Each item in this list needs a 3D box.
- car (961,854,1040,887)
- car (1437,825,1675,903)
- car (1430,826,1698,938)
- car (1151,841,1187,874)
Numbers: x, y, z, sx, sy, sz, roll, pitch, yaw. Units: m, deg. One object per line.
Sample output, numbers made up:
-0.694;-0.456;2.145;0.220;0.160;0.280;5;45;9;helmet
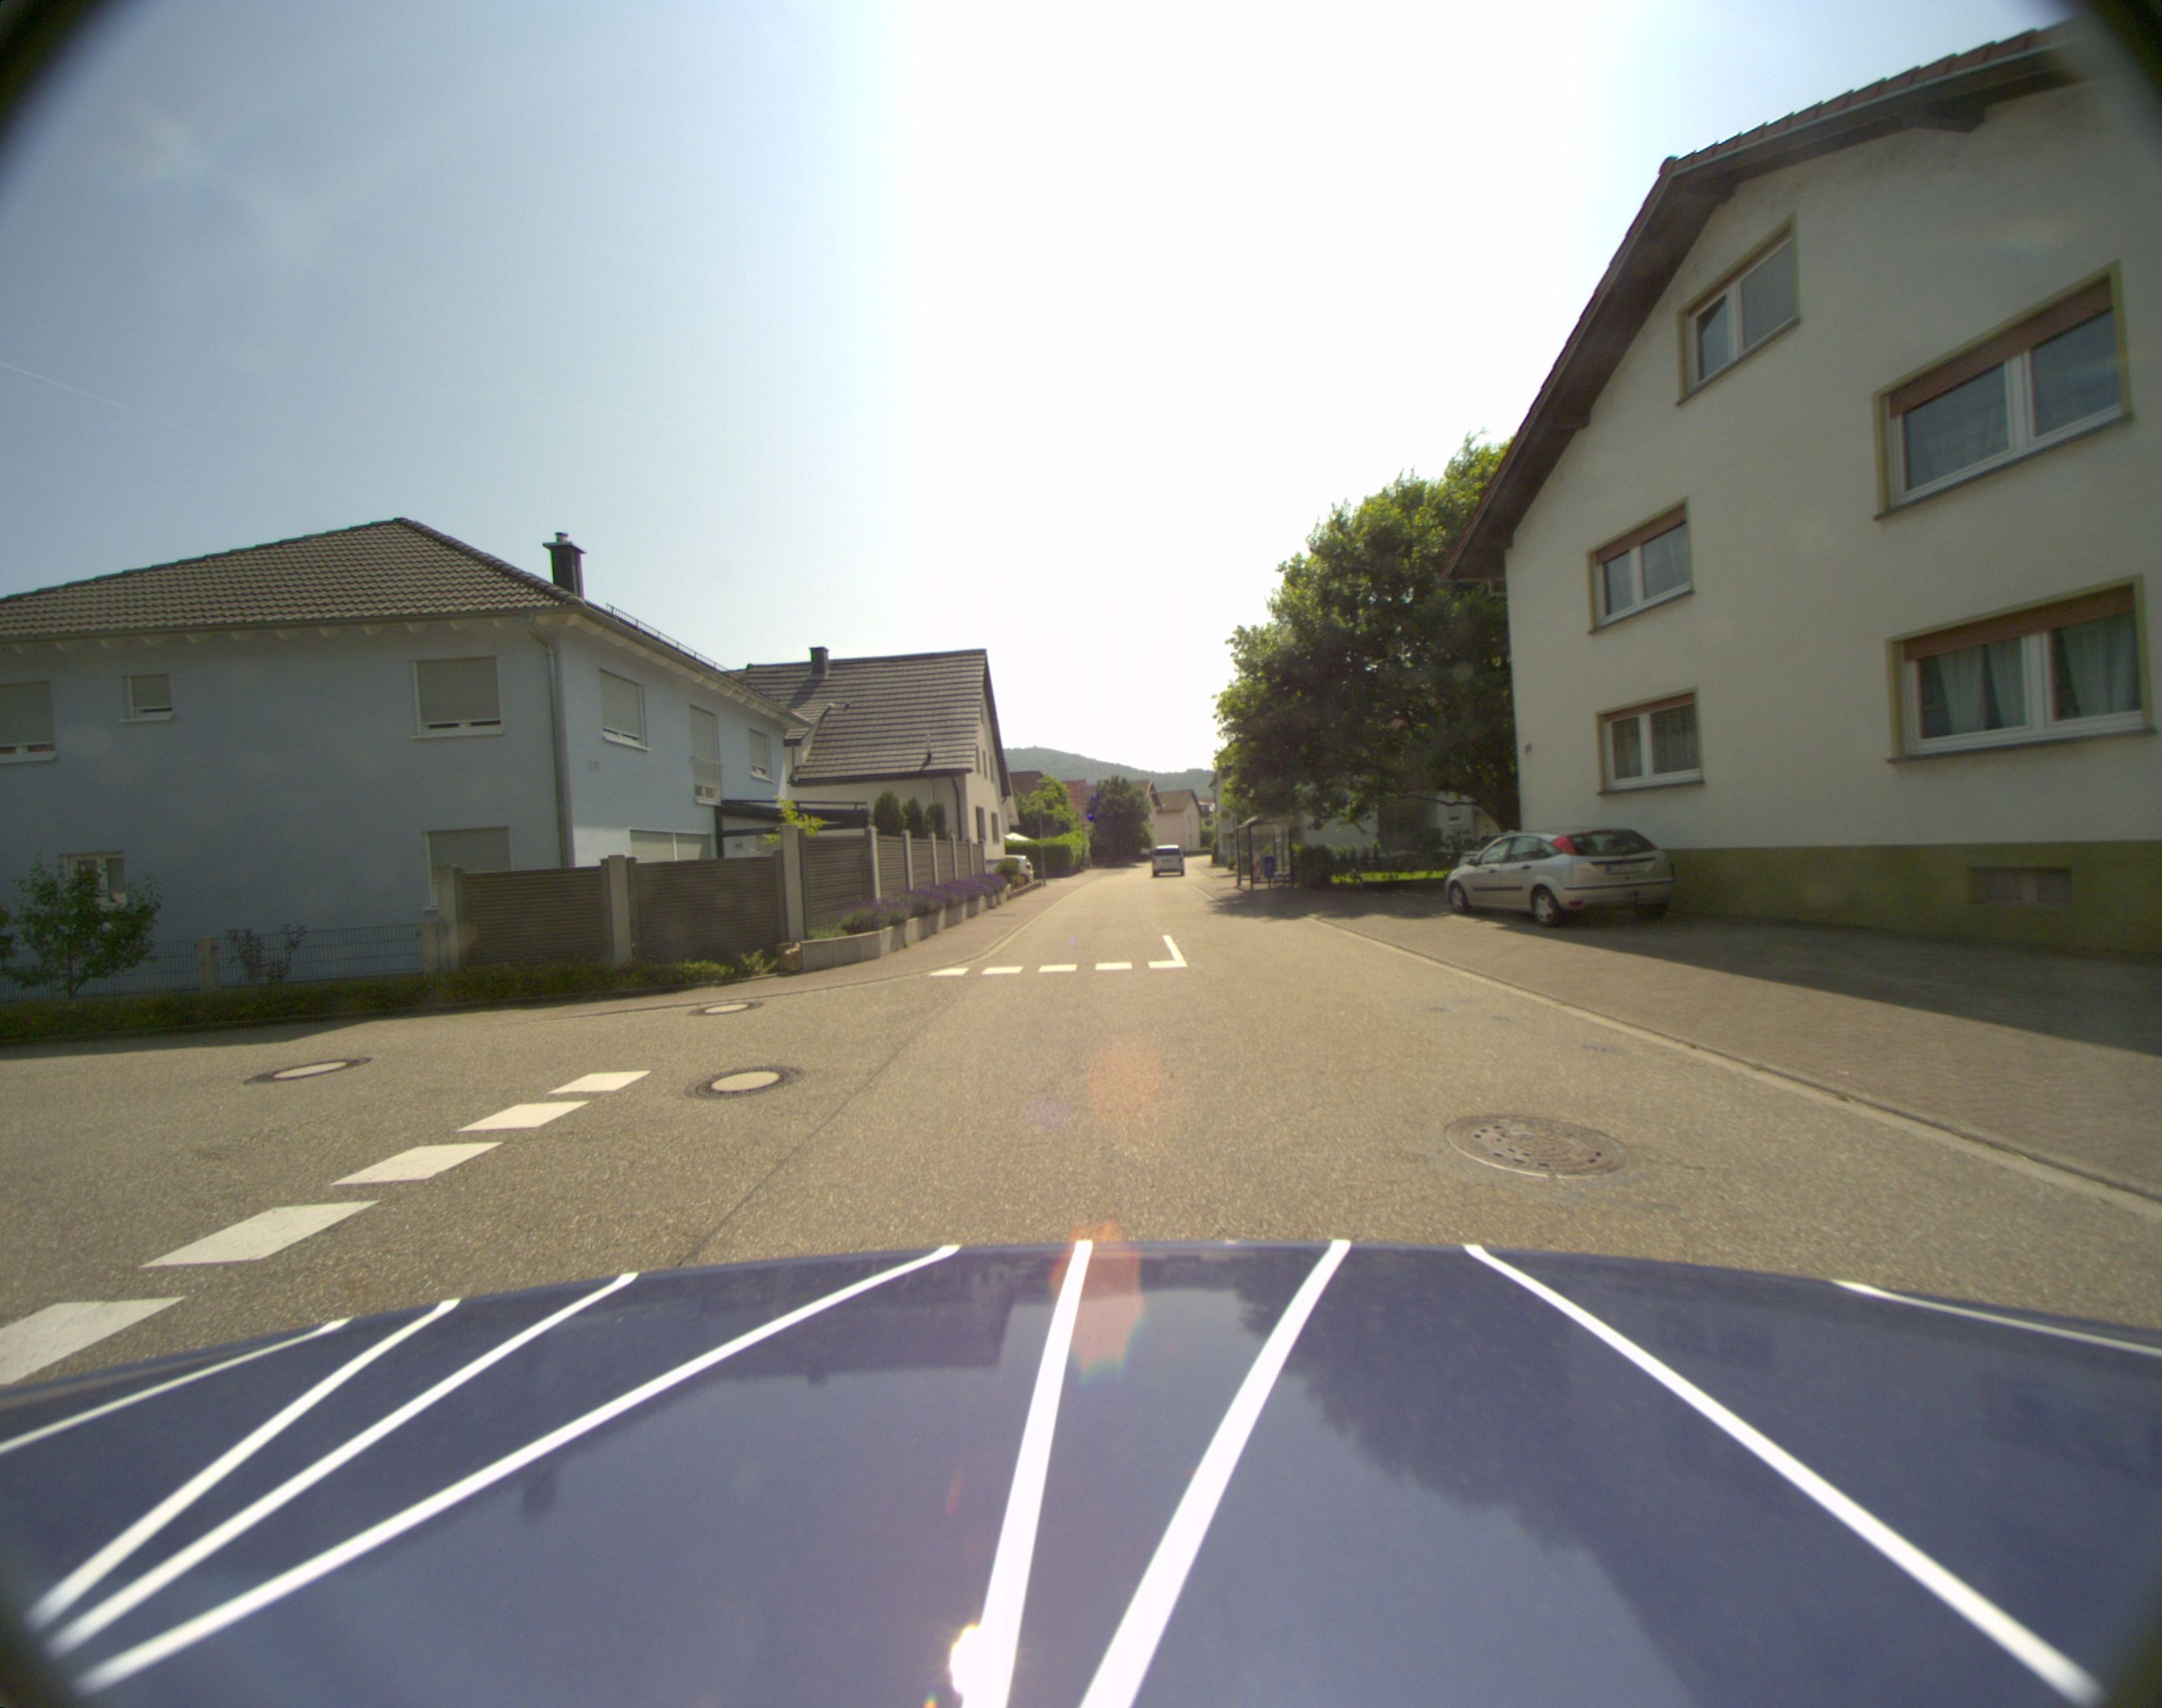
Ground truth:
-3.929;0.804;37.386;3.667;1.466;1.765;-2;0;-1;car
10.483;0.213;16.992;4.170;1.530;1.774;-2;0;2;car
7.619;0.381;12.533;1.783;1.426;4.055;-4;0;0;car
5.091;0.166;44.387;1.889;1.757;4.332;-2;1;6;car
